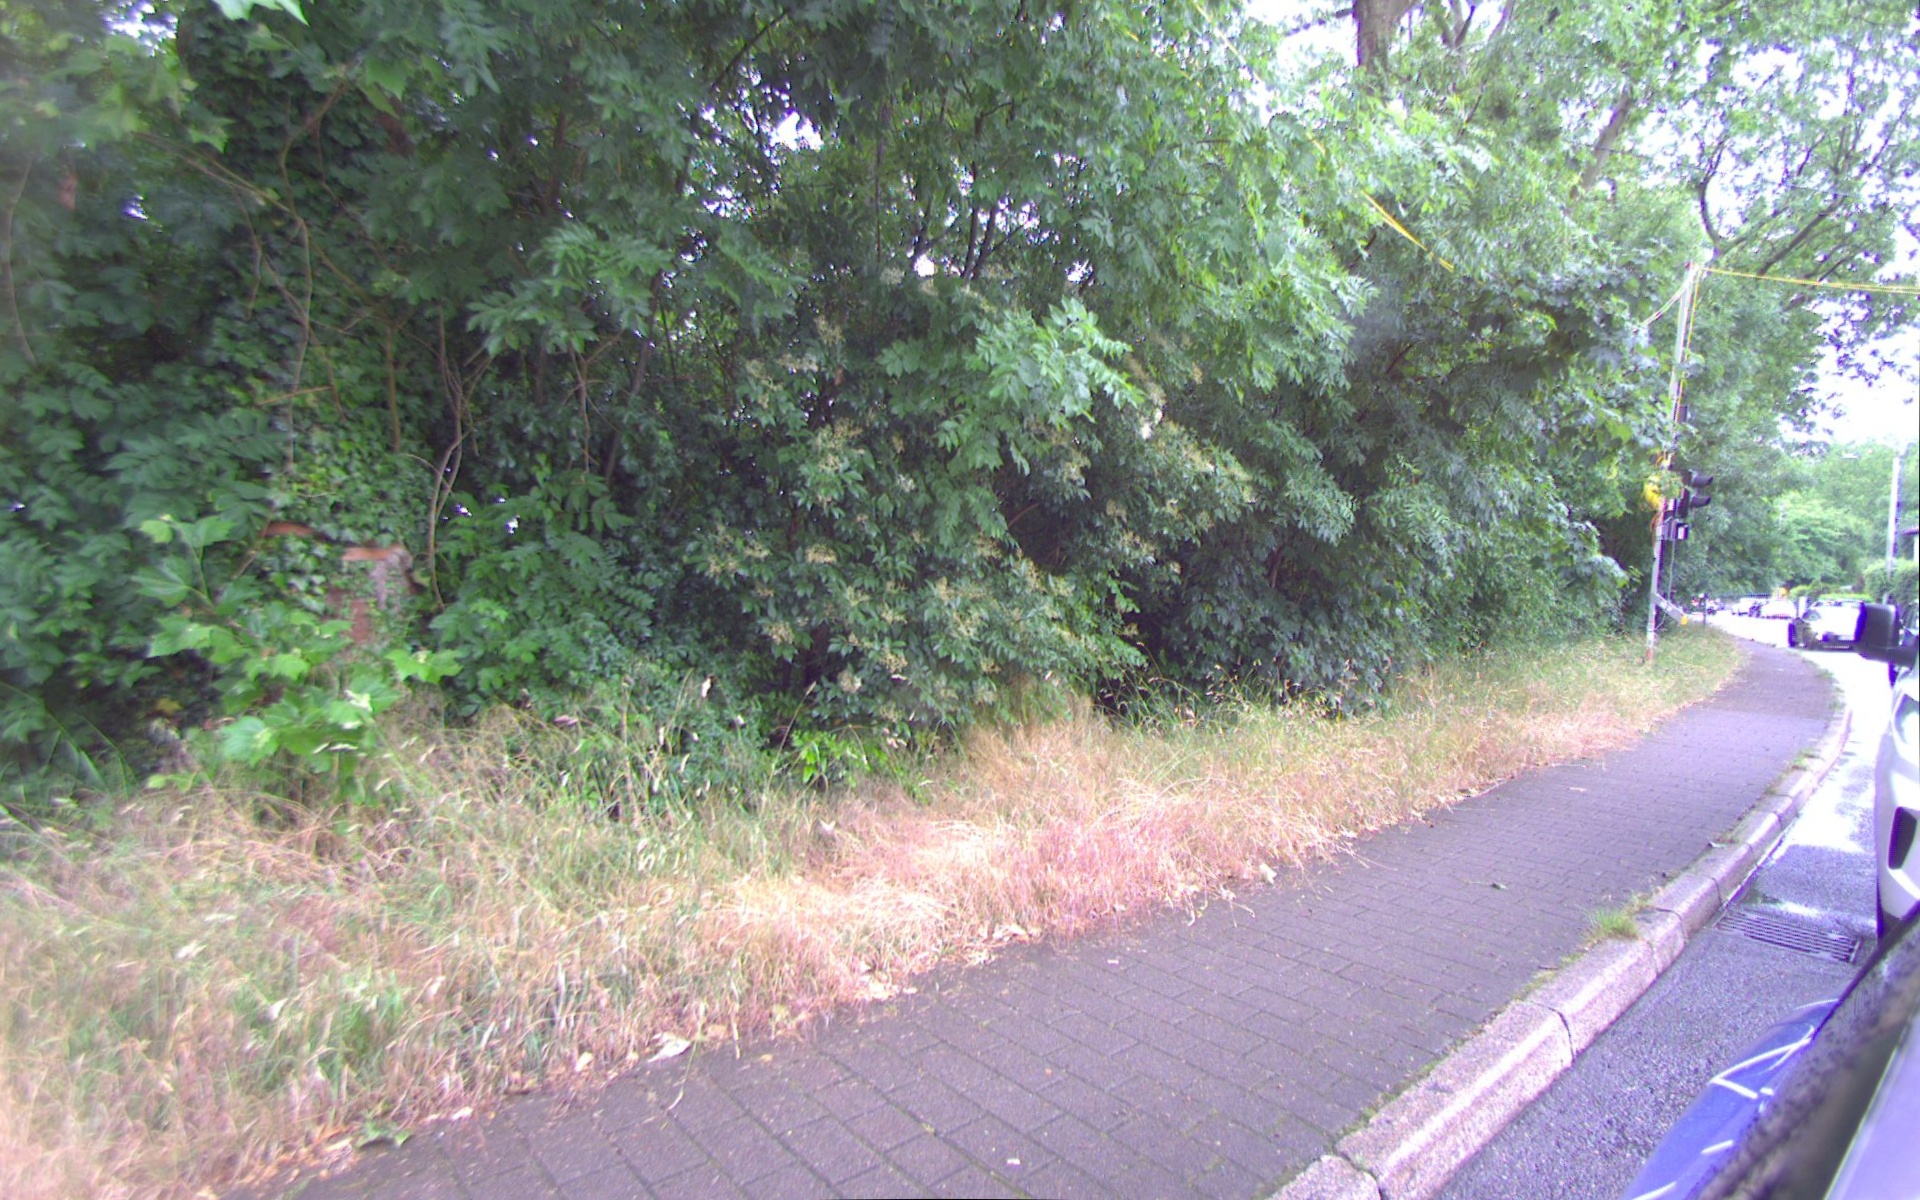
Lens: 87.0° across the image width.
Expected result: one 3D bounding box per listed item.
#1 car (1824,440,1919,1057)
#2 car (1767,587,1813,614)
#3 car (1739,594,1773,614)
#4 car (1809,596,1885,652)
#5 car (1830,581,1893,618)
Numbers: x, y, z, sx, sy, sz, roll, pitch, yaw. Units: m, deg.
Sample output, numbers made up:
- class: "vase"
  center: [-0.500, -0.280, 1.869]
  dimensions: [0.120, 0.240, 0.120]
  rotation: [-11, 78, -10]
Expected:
- class: "car"
  center: [5.424, 0.438, 4.212]
  dimensions: [5.118, 1.917, 2.044]
  rotation: [-1, 0, -41]
- class: "car"
  center: [60.590, 0.005, 73.916]
  dimensions: [1.984, 1.884, 4.311]
  rotation: [0, 0, 32]
- class: "car"
  center: [64.823, 0.307, 82.431]
  dimensions: [1.752, 1.547, 3.550]
  rotation: [0, 0, 32]
- class: "car"
  center: [27.277, 0.748, 31.206]
  dimensions: [1.663, 1.610, 3.946]
  rotation: [0, -2, 40]
- class: "car"
  center: [51.238, -0.059, 57.565]
  dimensions: [1.984, 2.039, 3.955]
  rotation: [0, 0, 32]
